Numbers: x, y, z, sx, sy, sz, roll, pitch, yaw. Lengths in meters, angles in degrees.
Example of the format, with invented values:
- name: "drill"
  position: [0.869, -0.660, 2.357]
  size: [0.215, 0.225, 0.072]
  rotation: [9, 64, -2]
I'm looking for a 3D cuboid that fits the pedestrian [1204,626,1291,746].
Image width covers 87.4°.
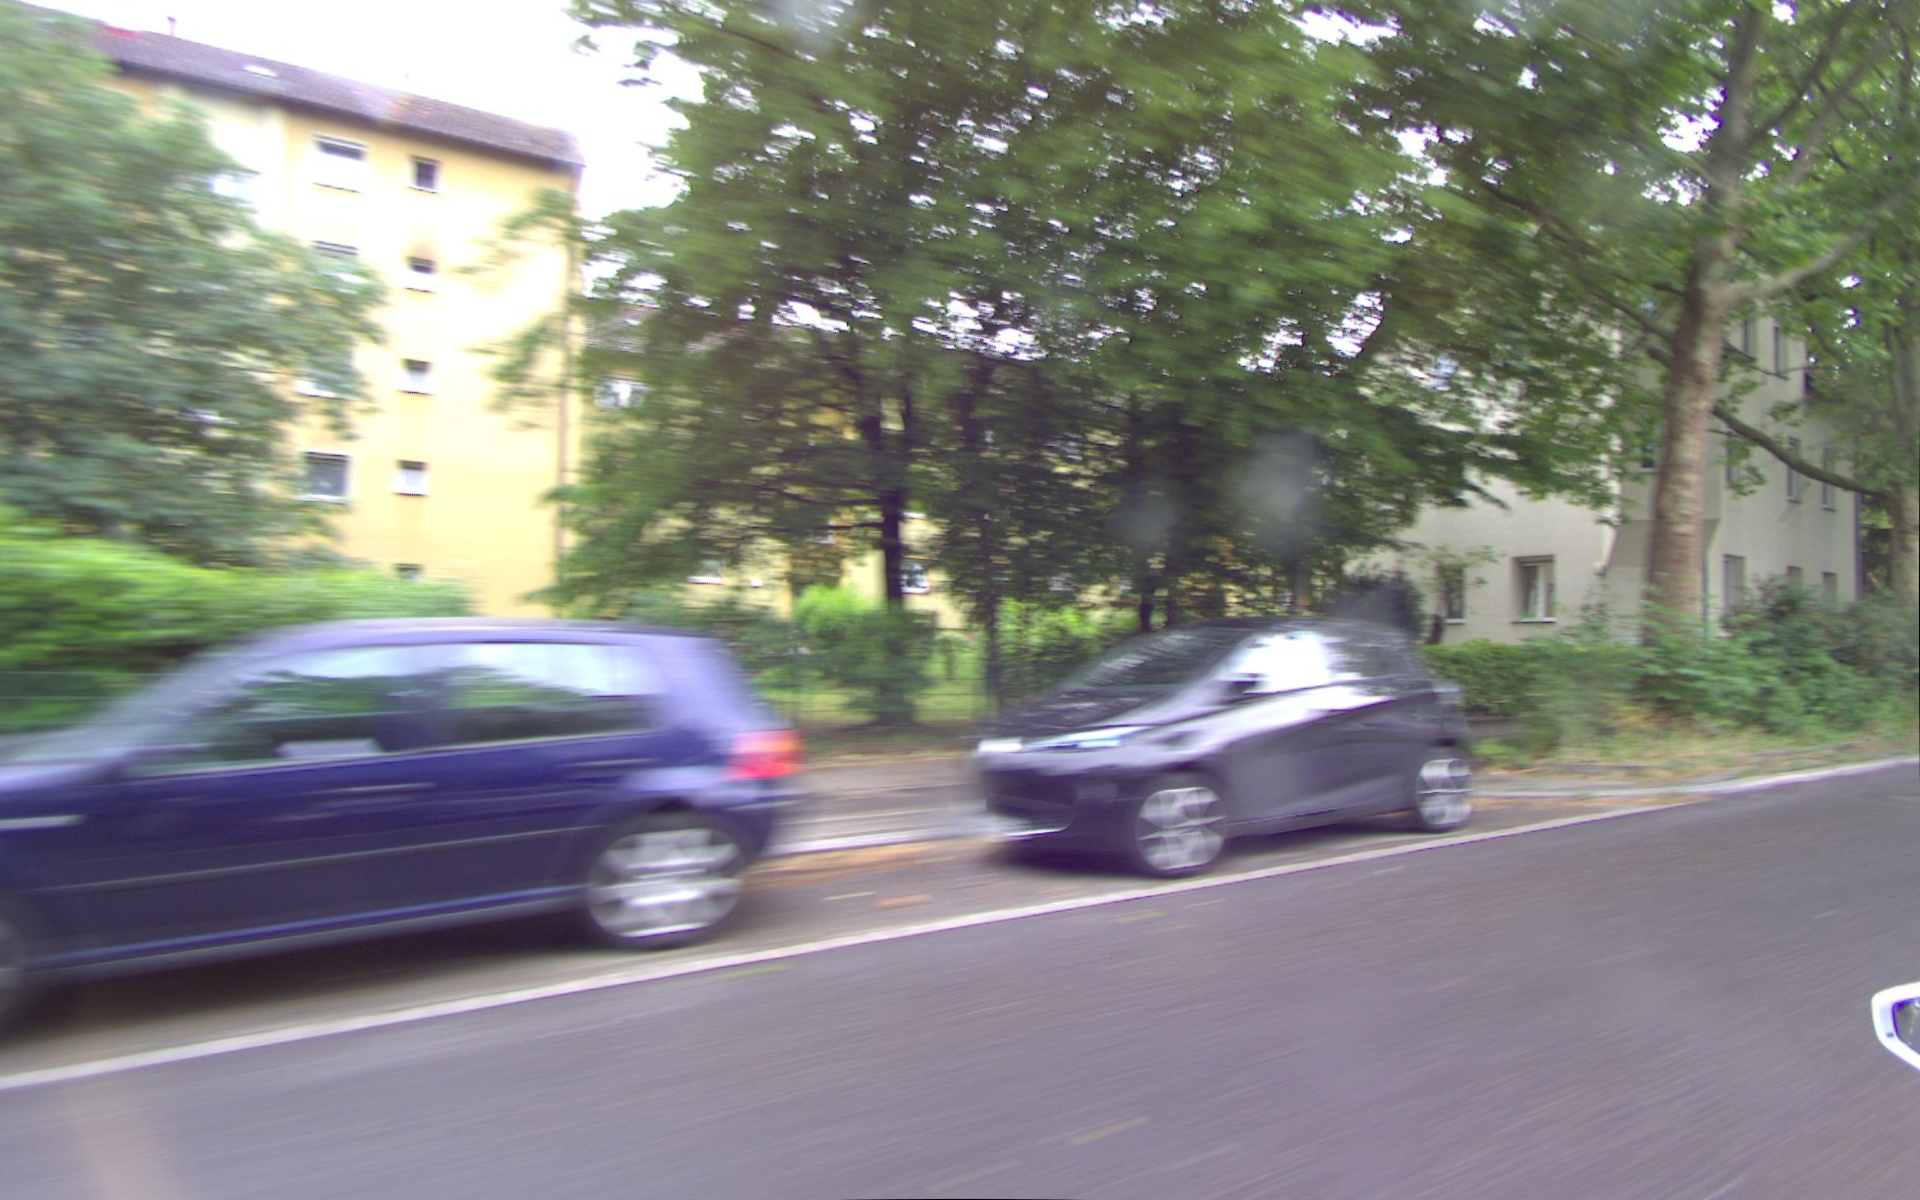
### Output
- name: "pedestrian"
  position: [4.109, 1.220, 14.340]
  size: [1.009, 1.641, 0.584]
  rotation: [3, -1, -29]

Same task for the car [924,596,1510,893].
- name: "car"
  position: [1.881, 0.873, 7.044]
  size: [3.972, 1.557, 1.640]
  rotation: [2, -5, -31]

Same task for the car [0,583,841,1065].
- name: "car"
  position: [-2.645, 0.755, 4.513]
  size: [3.828, 1.528, 1.664]
  rotation: [2, 1, -30]
